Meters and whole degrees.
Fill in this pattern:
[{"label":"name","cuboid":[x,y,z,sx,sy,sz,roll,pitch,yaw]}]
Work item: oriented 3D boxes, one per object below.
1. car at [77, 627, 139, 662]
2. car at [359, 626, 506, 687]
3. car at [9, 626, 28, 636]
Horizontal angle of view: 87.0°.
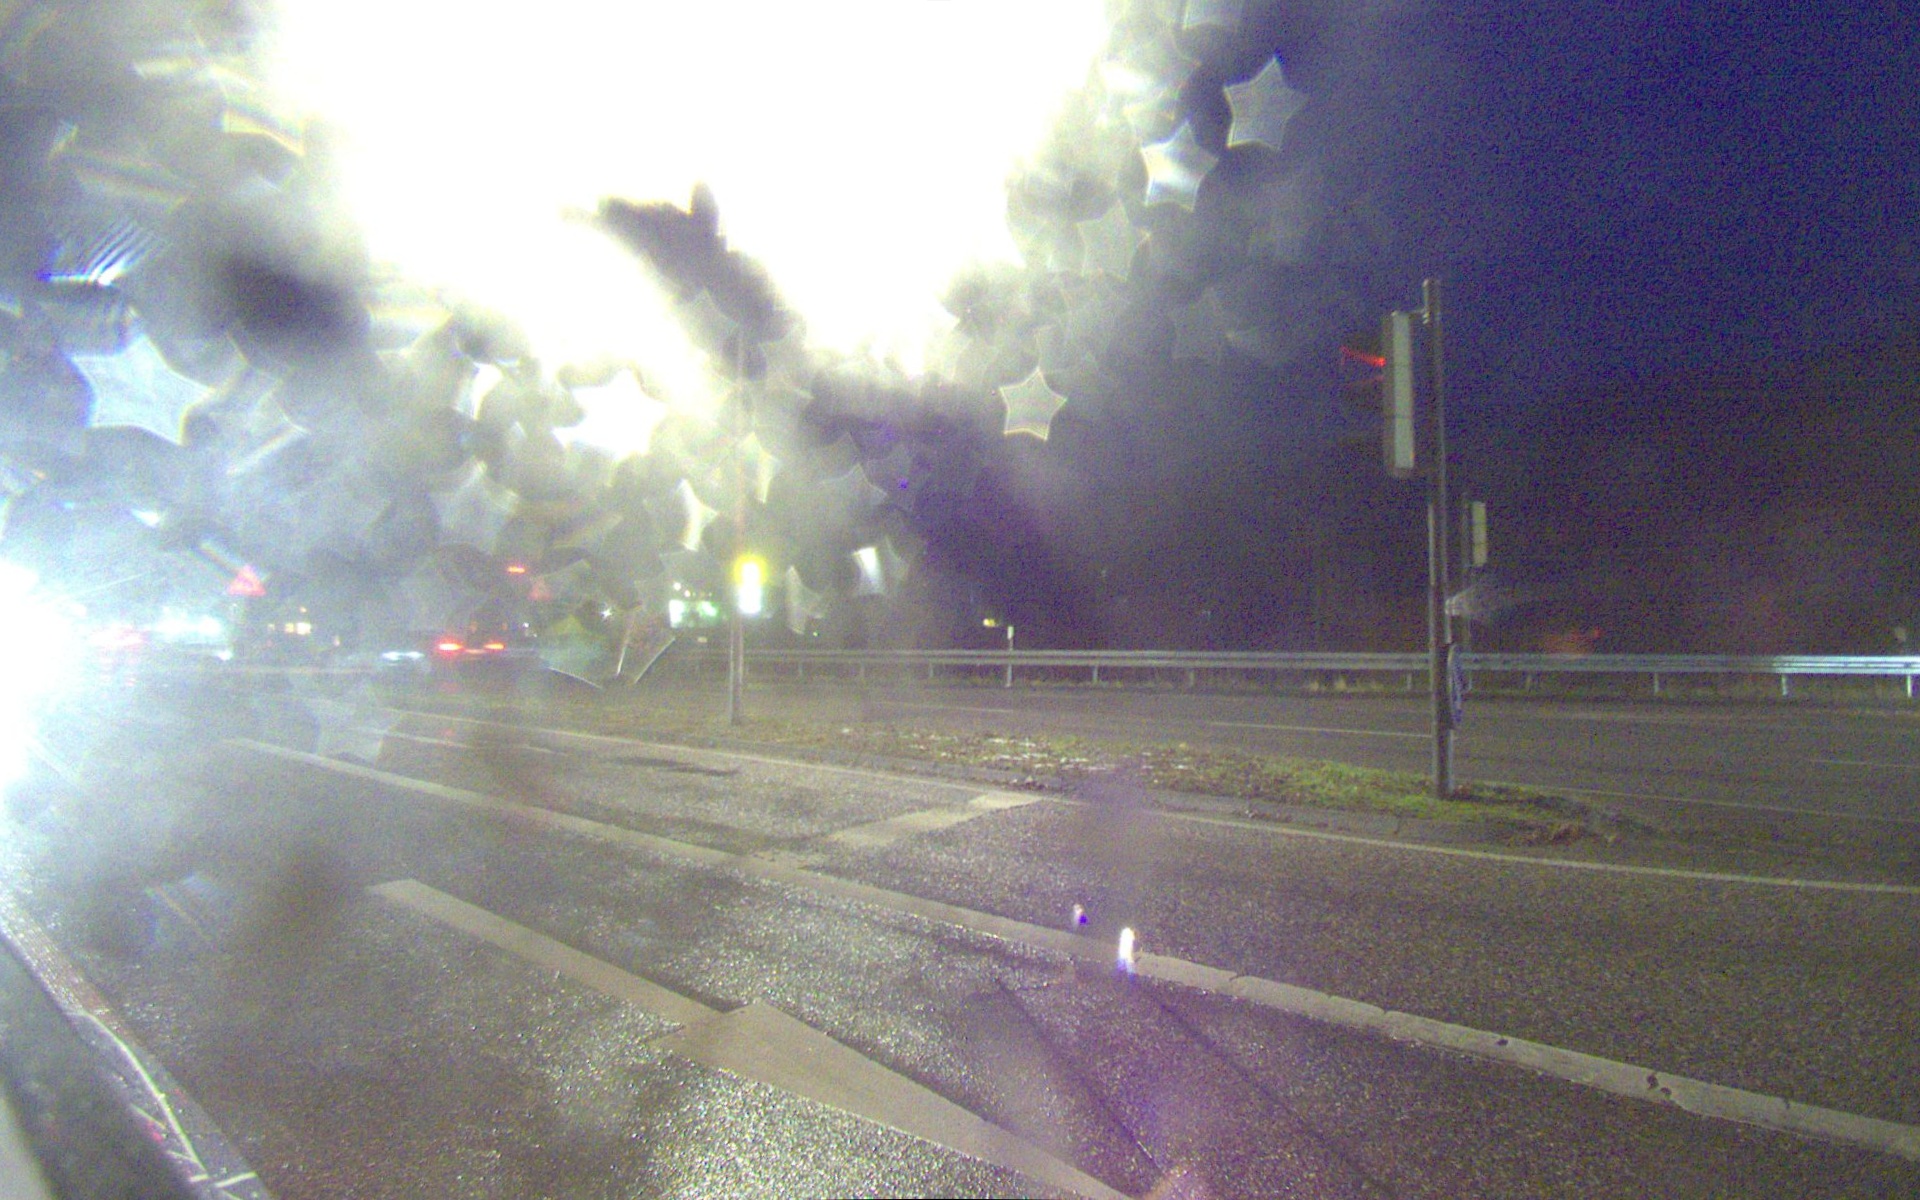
[{"label":"car","cuboid":[-44.684,2.313,53.053,4.503,1.665,1.690,0,0,39]},{"label":"car","cuboid":[-15.150,1.543,28.943,4.882,1.515,1.731,0,0,36]},{"label":"car","cuboid":[-149.990,4.925,161.198,1.780,1.435,4.214,0,0,-38]}]
